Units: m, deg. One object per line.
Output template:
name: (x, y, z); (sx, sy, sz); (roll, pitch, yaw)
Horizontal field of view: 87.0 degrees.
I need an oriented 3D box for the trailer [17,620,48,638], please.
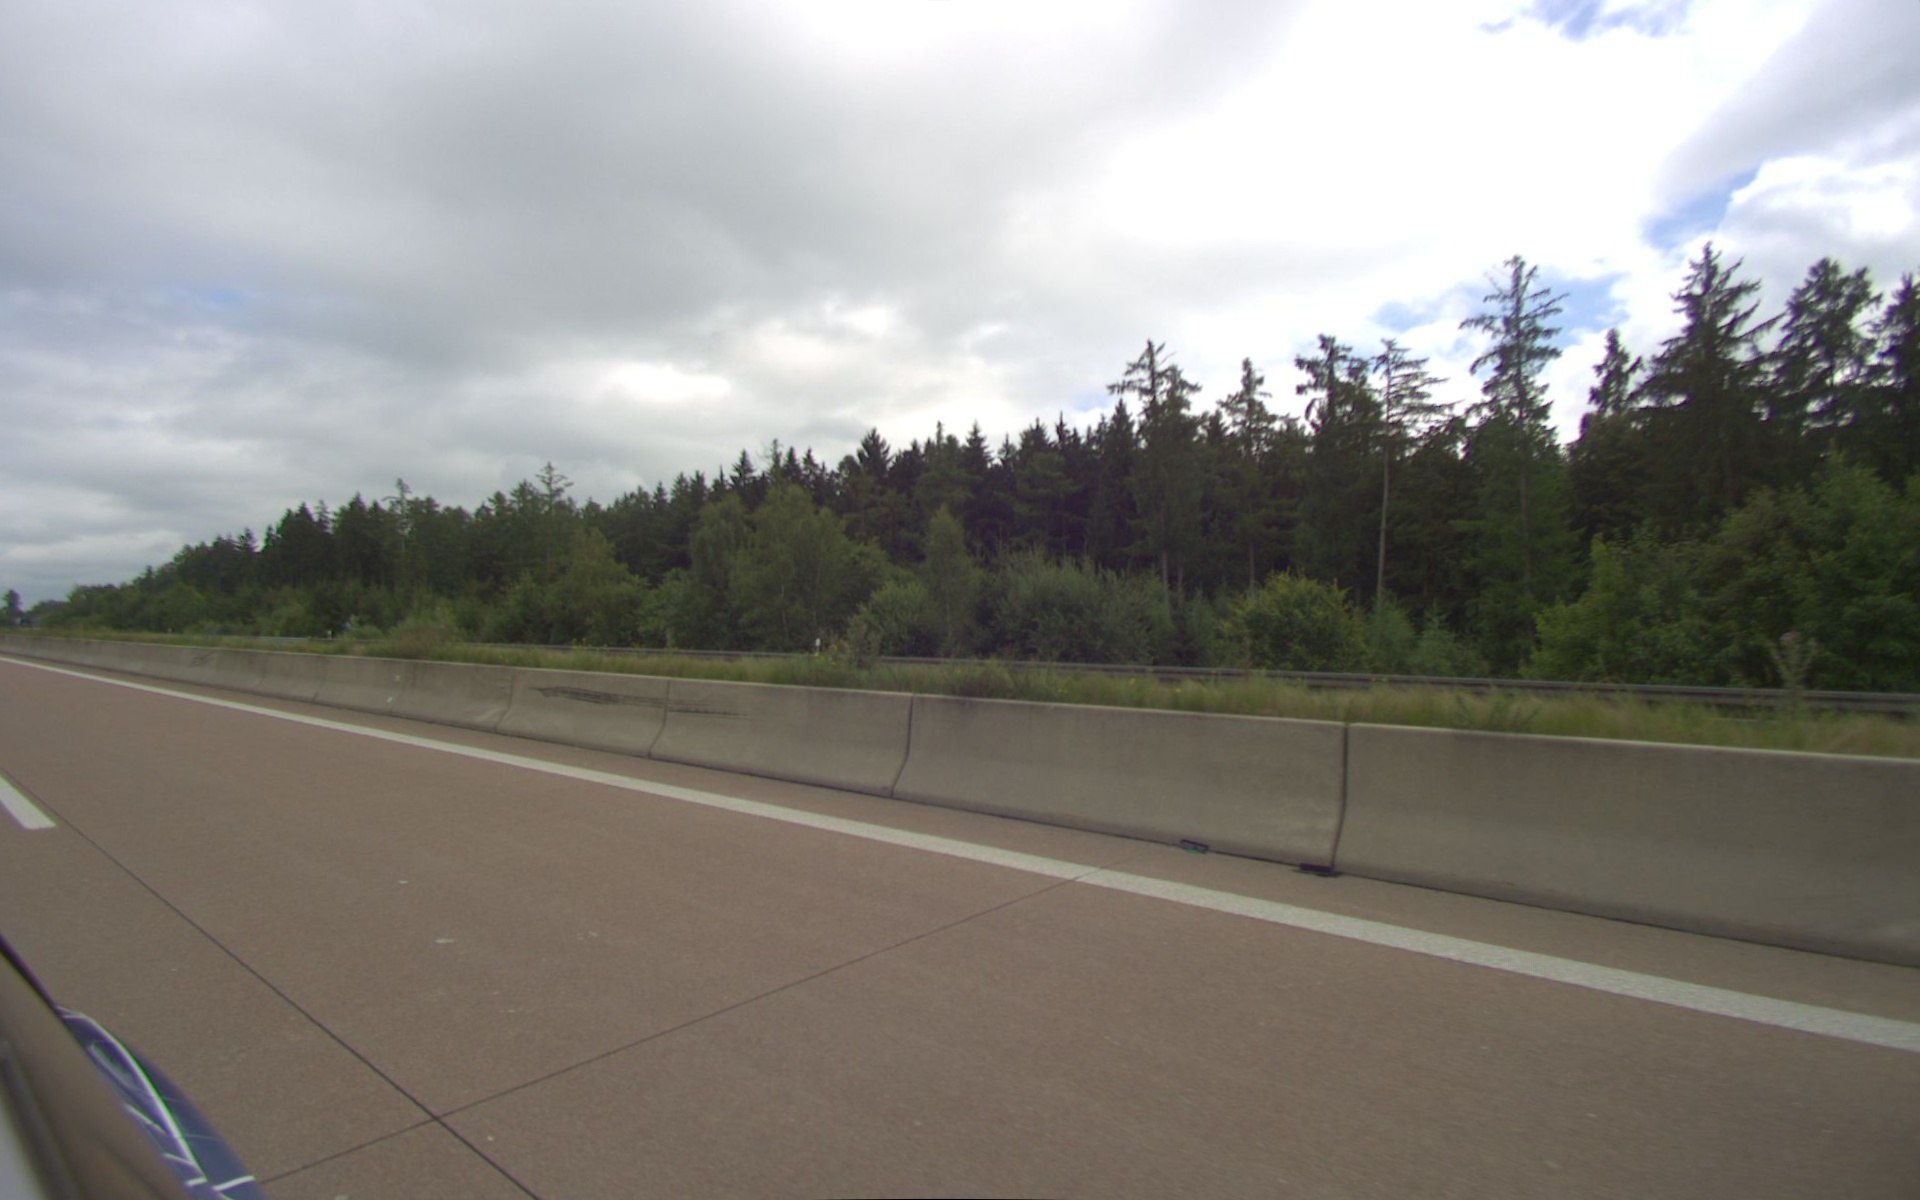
trailer: (-118.966, 3.694, 129.821); (6.186, 2.178, 2.307); (-2, -1, 42)
